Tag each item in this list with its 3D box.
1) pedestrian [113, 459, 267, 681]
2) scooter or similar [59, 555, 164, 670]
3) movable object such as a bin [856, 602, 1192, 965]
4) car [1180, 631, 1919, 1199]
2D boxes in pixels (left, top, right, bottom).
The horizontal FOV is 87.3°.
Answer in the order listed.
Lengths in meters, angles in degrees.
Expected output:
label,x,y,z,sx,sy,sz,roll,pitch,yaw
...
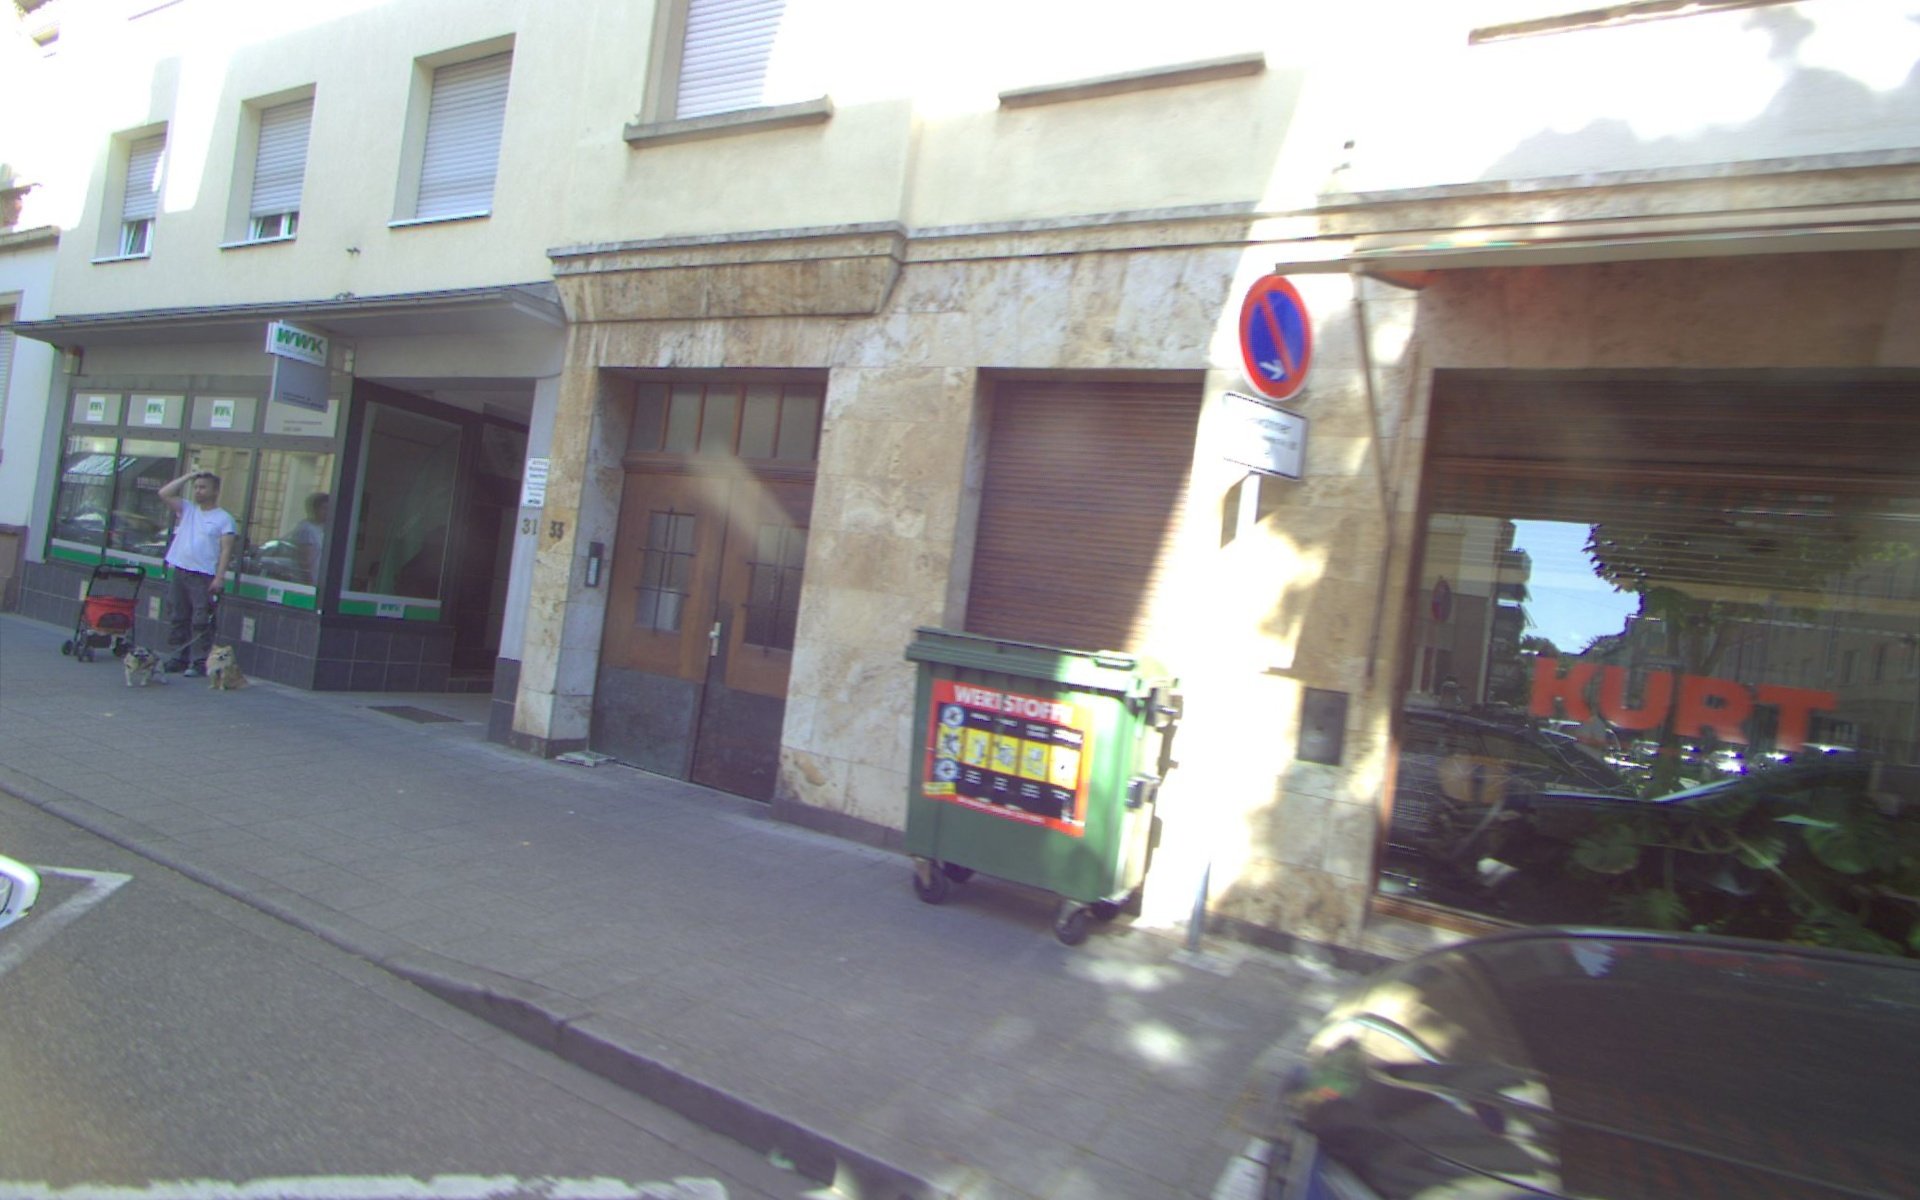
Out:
label,x,y,z,sx,sy,sz,roll,pitch,yaw
pedestrian,-7.025,-0.265,9.202,0.734,1.884,0.650,7,1,7
scooter or similar,-8.003,0.112,9.487,0.854,0.956,0.490,8,1,36
movable object such as a bin,0.314,0.820,5.032,1.349,1.455,0.747,7,1,31
car,2.811,1.174,1.012,4.813,1.596,1.806,7,-3,29
